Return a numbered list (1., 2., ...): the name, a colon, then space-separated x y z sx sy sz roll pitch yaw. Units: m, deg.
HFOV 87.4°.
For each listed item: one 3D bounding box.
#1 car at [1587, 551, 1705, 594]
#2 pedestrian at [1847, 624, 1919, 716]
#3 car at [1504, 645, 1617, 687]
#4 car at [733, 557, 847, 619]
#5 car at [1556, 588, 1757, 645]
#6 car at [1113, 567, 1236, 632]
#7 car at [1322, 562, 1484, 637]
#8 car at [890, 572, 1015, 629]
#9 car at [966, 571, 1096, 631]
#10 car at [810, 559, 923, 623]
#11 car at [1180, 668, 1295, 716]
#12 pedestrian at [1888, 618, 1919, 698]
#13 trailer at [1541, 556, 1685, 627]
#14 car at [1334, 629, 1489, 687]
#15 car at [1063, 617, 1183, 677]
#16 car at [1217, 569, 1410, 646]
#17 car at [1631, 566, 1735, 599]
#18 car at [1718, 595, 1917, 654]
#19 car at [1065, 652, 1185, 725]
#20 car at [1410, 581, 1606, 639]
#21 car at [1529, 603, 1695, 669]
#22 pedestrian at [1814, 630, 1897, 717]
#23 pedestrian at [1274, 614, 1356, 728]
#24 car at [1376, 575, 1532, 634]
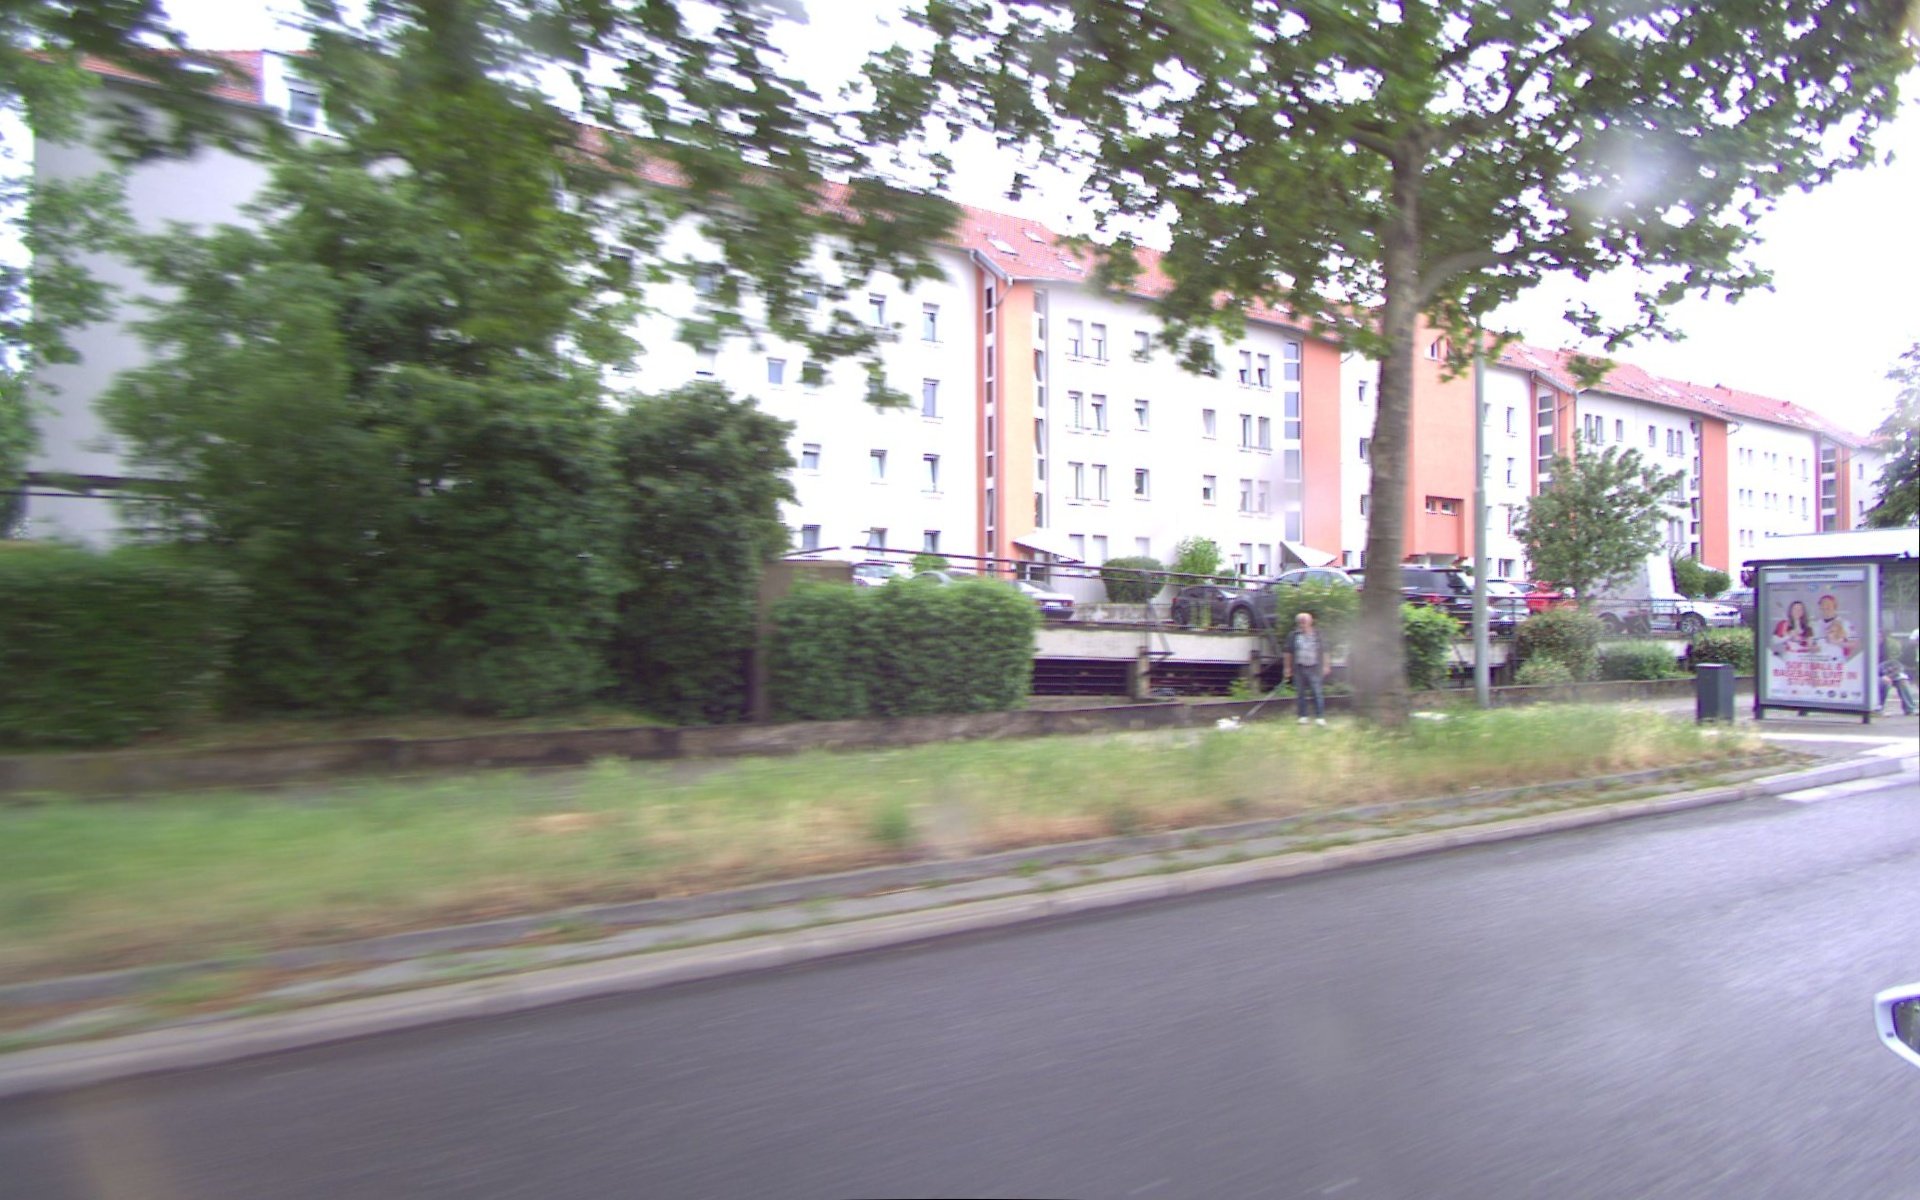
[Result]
1. car: 28.451 -1.155 41.726 3.770 1.623 1.708 2 0 44
2. pedestrian: 14.820 1.120 16.099 0.632 1.436 0.685 3 -4 -26
3. car: 25.617 2.808 42.941 1.699 1.531 3.790 3 -1 -31
4. car: -4.557 -0.309 26.411 1.825 1.433 3.972 3 0 -27
5. car: 19.778 0.438 28.717 1.838 1.443 4.335 3 0 -29
6. car: 7.065 -0.003 33.502 1.974 2.040 3.973 1 0 -27
7. car: 10.034 -0.024 22.941 1.420 1.563 3.116 3 0 -29
8. car: -0.297 -0.006 28.045 1.881 1.415 3.972 2 0 -27
9. car: 1.987 0.022 29.193 1.975 1.550 3.972 3 0 -27
10. car: -2.619 -0.249 27.263 1.663 1.527 3.972 3 0 -27
11. car: 10.437 3.449 38.038 2.039 1.415 3.972 2 0 -27
12. pedestrian: 19.571 1.189 20.476 0.598 1.618 0.739 3 -5 -26
13. trailer: 16.554 -0.207 25.553 1.462 1.667 2.693 2 0 -29
14. car: 13.018 1.645 29.193 1.571 1.423 3.950 3 0 -29
15. car: 5.256 1.468 32.855 1.974 1.773 3.877 1 0 -27
16. car: 7.756 0.148 22.292 1.877 1.518 3.631 3 0 -33
17. car: 33.586 -0.807 46.731 1.526 1.412 3.579 3 0 -31
18. car: 27.889 0.758 32.834 1.977 1.694 4.523 3 0 -30
19. car: 5.390 2.862 33.356 1.974 2.040 3.972 1 0 -27
20. car: 13.903 0.213 25.725 1.788 1.320 4.070 3 0 -29
21. car: 18.070 0.953 27.983 1.685 1.719 3.493 1 0 -29
22. pedestrian: 14.105 1.152 15.837 0.632 1.334 0.773 3 -3 -26
23. pedestrian: 5.320 1.047 15.062 0.826 1.632 0.750 3 0 -34
24. car: 11.868 0.097 24.286 1.420 1.287 3.116 3 0 -29
